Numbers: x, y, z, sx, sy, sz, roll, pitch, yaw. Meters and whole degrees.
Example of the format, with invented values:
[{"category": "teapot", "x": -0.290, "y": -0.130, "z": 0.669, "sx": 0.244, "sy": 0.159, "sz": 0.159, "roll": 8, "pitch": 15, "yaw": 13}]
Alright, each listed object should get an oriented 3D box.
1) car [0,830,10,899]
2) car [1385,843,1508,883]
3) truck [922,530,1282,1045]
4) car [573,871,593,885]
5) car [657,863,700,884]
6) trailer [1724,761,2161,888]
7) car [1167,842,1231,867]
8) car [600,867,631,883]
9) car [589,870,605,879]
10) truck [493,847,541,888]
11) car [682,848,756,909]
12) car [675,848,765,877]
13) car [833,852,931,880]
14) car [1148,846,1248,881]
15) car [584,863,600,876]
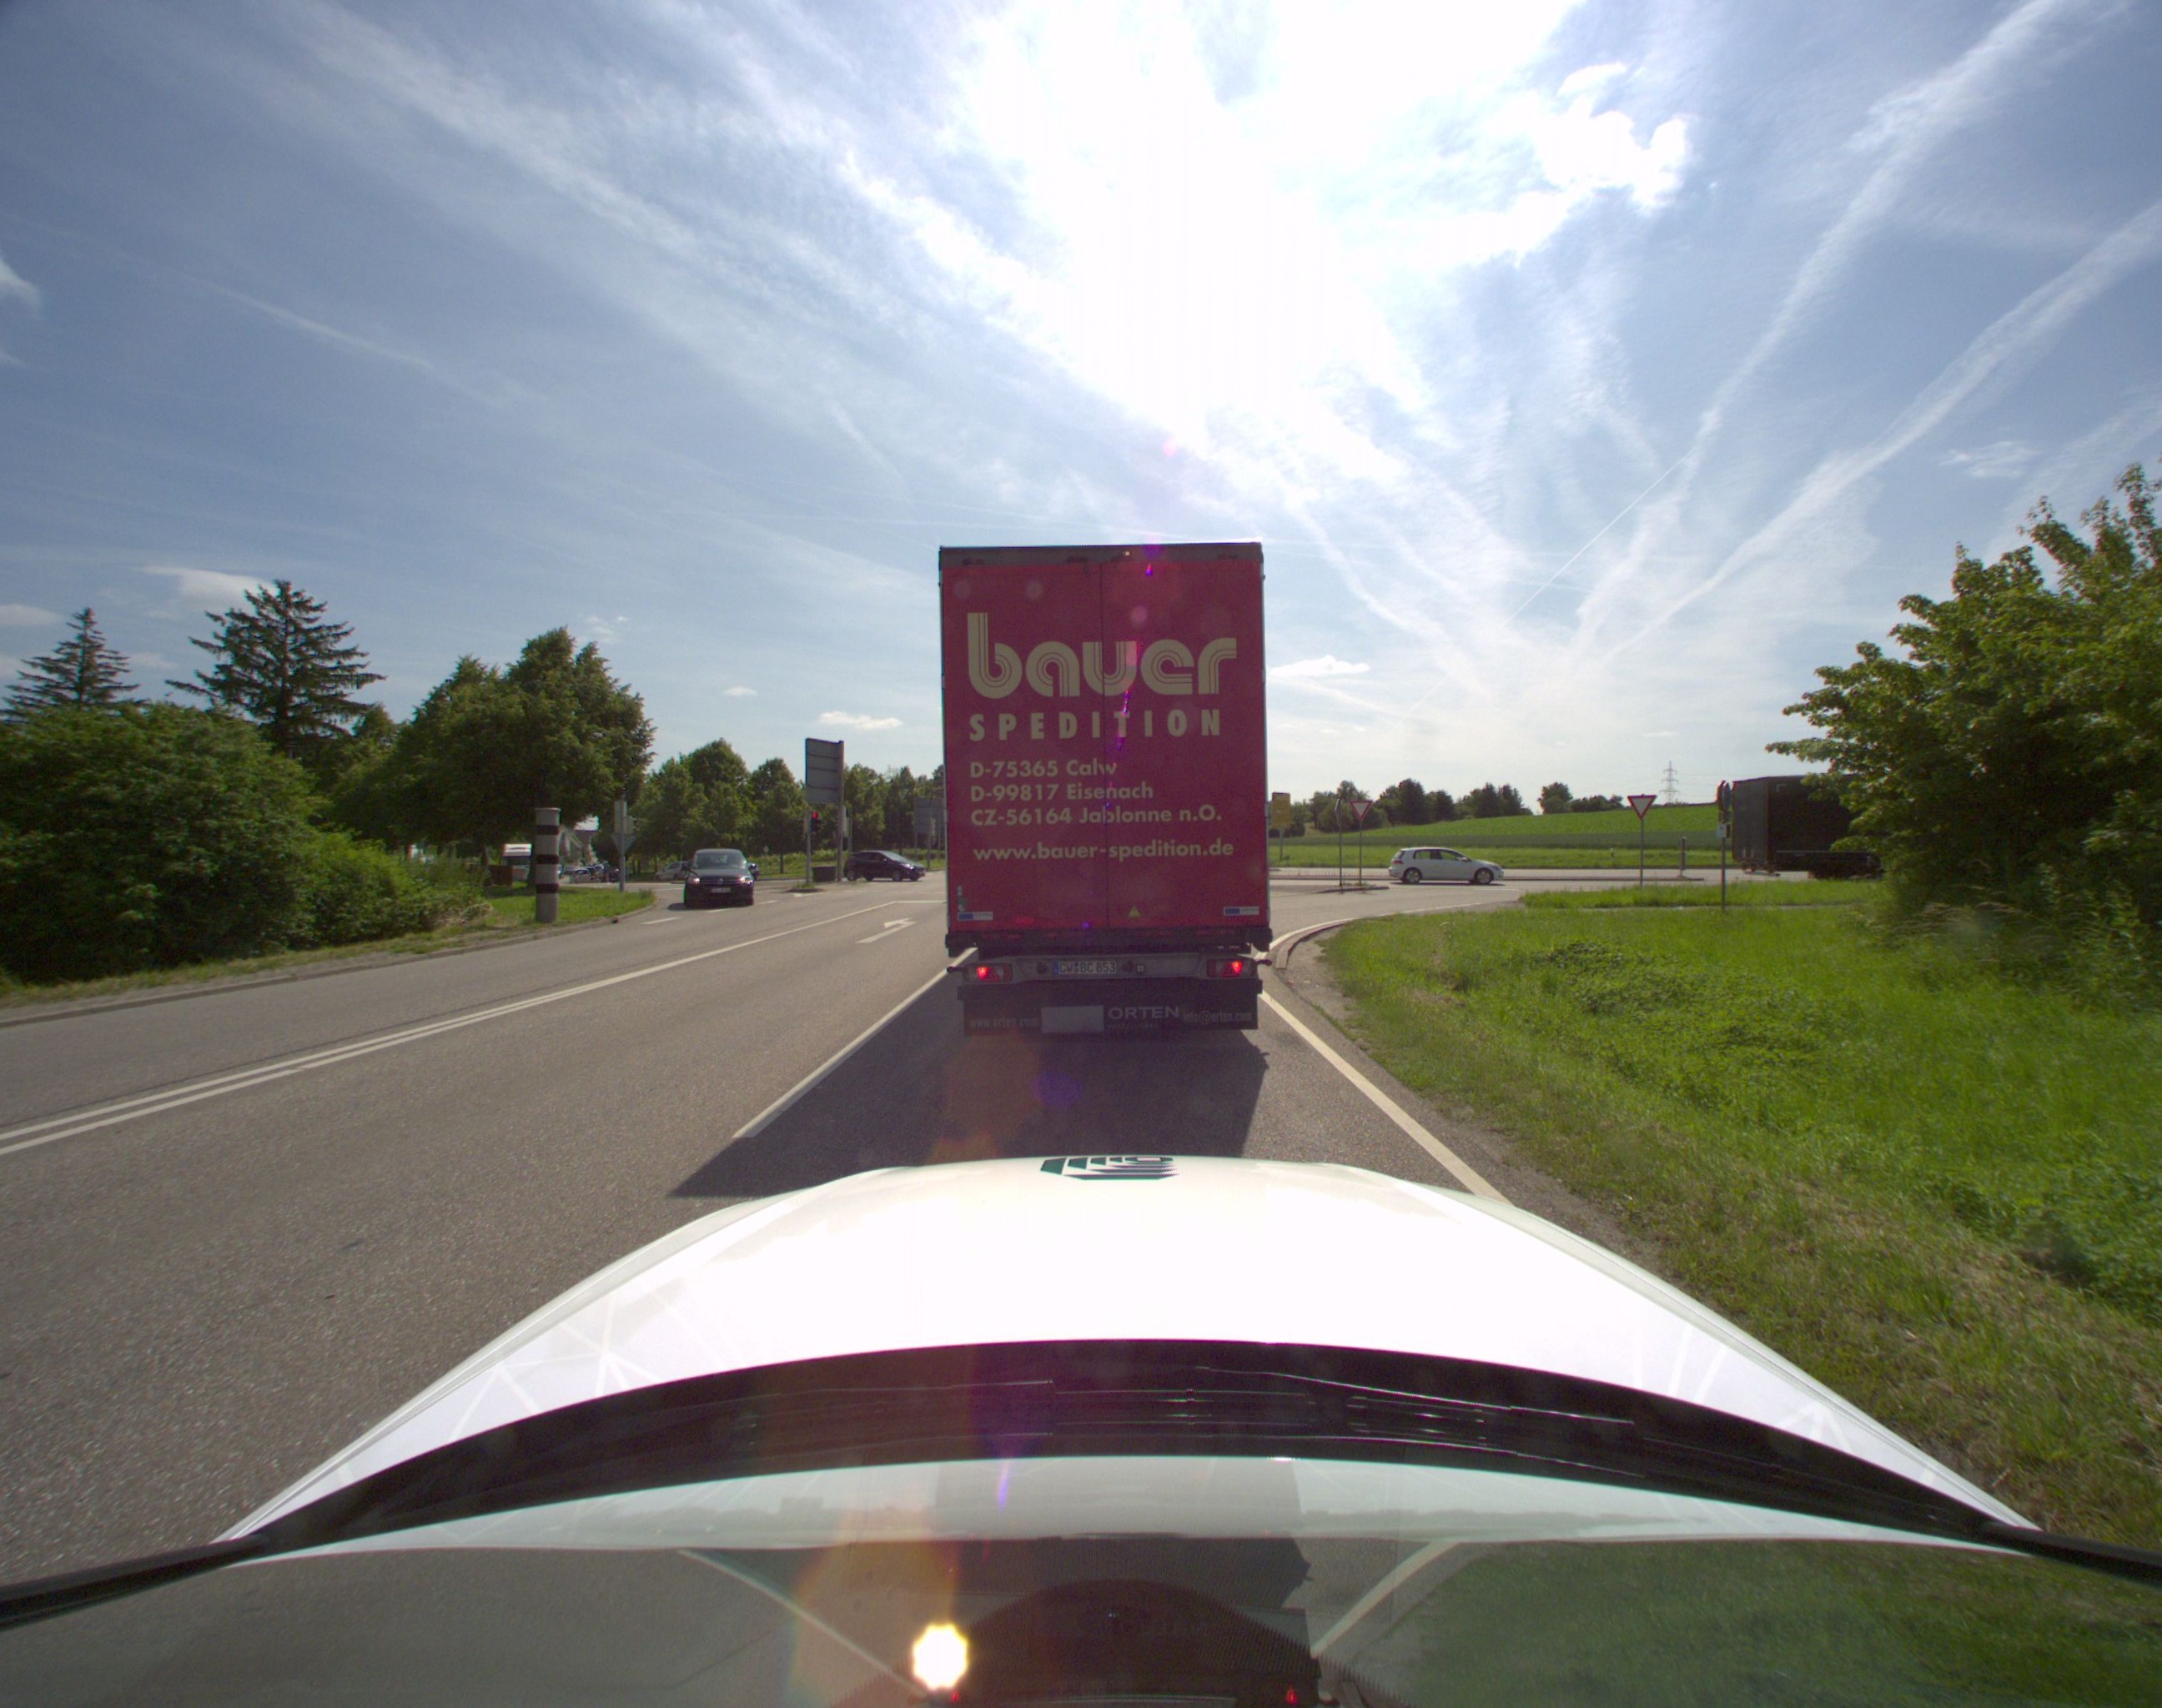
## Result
[{"category": "car", "x": -36.041, "y": 0.324, "z": 24.240, "sx": 4.601, "sy": 2.180, "sz": 1.985, "roll": 0, "pitch": 0, "yaw": -22}, {"category": "car", "x": 14.472, "y": 0.340, "z": 32.484, "sx": 4.217, "sy": 1.460, "sz": 1.817, "roll": 0, "pitch": 2, "yaw": 13}, {"category": "truck", "x": 0.391, "y": -0.565, "z": 14.577, "sx": 2.724, "sy": 3.925, "sz": 16.631, "roll": -1, "pitch": 0, "yaw": 2}, {"category": "car", "x": -50.414, "y": 2.453, "z": 82.493, "sx": 1.682, "sy": 1.357, "sz": 3.821, "roll": 0, "pitch": -1, "yaw": -32}, {"category": "car", "x": -30.061, "y": 1.424, "z": 60.757, "sx": 3.957, "sy": 1.491, "sz": 1.547, "roll": -1, "pitch": -1, "yaw": 42}, {"category": "trailer", "x": 31.130, "y": -0.953, "z": 28.516, "sx": 13.584, "sy": 4.061, "sz": 2.809, "roll": 0, "pitch": 1, "yaw": 14}, {"category": "car", "x": 7.818, "y": 0.033, "z": 54.135, "sx": 3.948, "sy": 1.596, "sz": 1.675, "roll": -1, "pitch": 0, "yaw": 40}, {"category": "car", "x": -41.047, "y": 1.814, "z": 71.823, "sx": 1.750, "sy": 1.305, "sz": 4.232, "roll": -1, "pitch": 0, "yaw": -38}, {"category": "car", "x": -78.859, "y": 3.383, "z": 132.783, "sx": 2.005, "sy": 1.429, "sz": 3.963, "roll": 0, "pitch": -1, "yaw": -29}, {"category": "truck", "x": -54.940, "y": 1.350, "z": 79.546, "sx": 2.954, "sy": 3.798, "sz": 7.854, "roll": 0, "pitch": -1, "yaw": -28}, {"category": "car", "x": -10.676, "y": 0.658, "z": 24.073, "sx": 1.812, "sy": 1.597, "sz": 4.235, "roll": -1, "pitch": 1, "yaw": -24}, {"category": "car", "x": -18.730, "y": 0.454, "z": 42.296, "sx": 4.231, "sy": 1.429, "sz": 1.750, "roll": 0, "pitch": -1, "yaw": 20}, {"category": "car", "x": -9.528, "y": 0.579, "z": 39.044, "sx": 4.235, "sy": 1.305, "sz": 1.749, "roll": 0, "pitch": -1, "yaw": 15}, {"category": "car", "x": 5.064, "y": 0.387, "z": 35.144, "sx": 4.002, "sy": 1.416, "sz": 1.803, "roll": 0, "pitch": 1, "yaw": 18}, {"category": "car", "x": -67.601, "y": 2.089, "z": 112.587, "sx": 1.764, "sy": 1.750, "sz": 3.963, "roll": 0, "pitch": -1, "yaw": -29}]
